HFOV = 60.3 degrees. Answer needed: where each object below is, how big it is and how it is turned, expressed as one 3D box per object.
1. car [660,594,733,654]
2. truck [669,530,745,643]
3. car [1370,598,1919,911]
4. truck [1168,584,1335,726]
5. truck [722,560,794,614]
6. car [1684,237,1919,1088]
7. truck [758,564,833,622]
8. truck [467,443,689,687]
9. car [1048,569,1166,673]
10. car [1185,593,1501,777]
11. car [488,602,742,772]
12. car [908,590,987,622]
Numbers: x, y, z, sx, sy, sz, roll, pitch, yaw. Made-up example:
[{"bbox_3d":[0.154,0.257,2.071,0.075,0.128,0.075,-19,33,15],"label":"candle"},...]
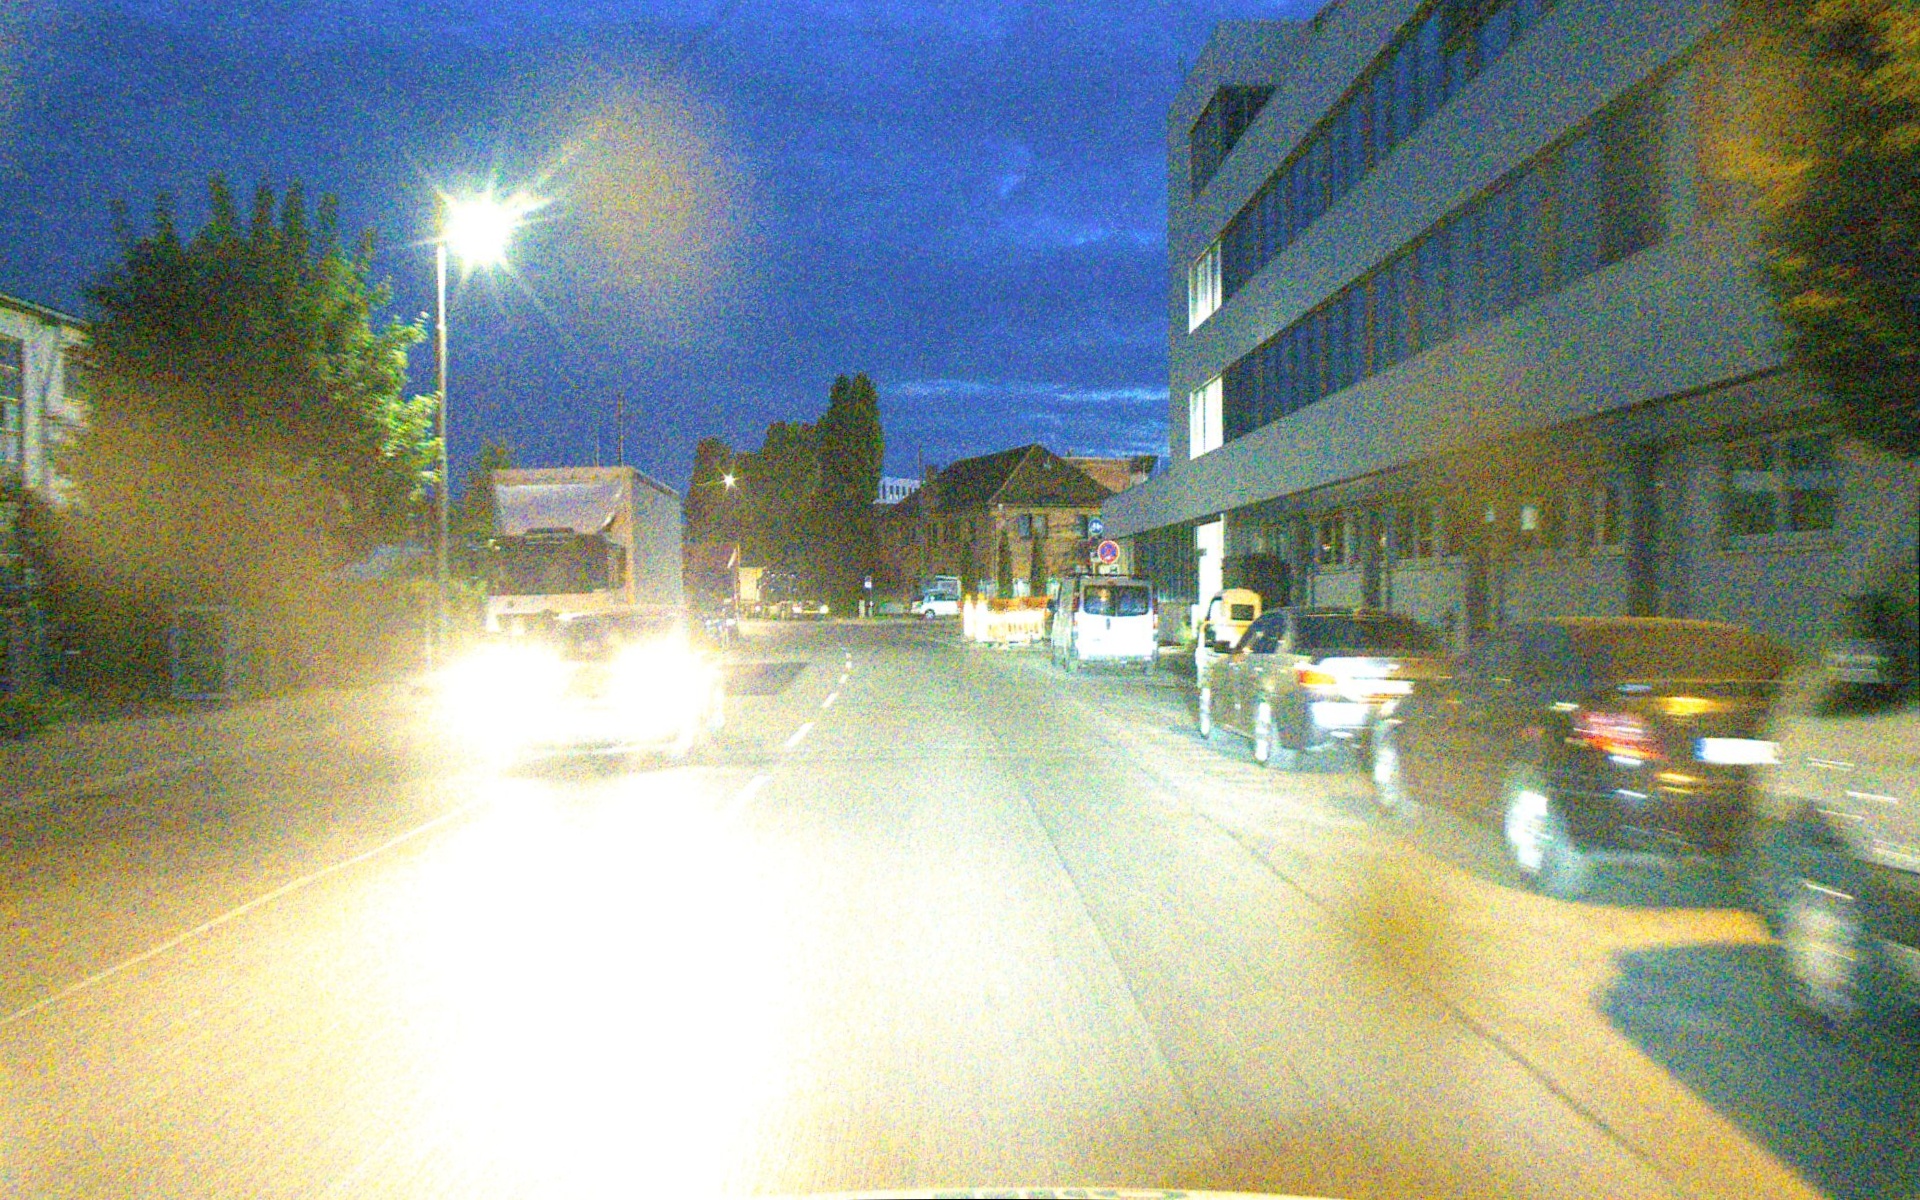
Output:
[{"bbox_3d":[-8.139,0.707,51.508,1.906,1.747,5.192,-1,0,-6],"label":"car"},{"bbox_3d":[-10.106,-0.503,66.235,2.721,4.192,9.322,-1,0,-8],"label":"truck"},{"bbox_3d":[3.886,0.721,10.035,1.733,1.437,4.550,0,0,1],"label":"car"},{"bbox_3d":[3.705,0.659,21.561,1.343,1.673,3.810,-1,0,-3],"label":"truck"},{"bbox_3d":[-15.228,-0.901,123.955,2.717,3.849,10.154,-1,0,-22],"label":"truck"},{"bbox_3d":[3.828,0.209,3.688,1.952,2.570,5.911,2,0,2],"label":"car"},{"bbox_3d":[-11.453,-0.442,114.405,2.717,3.849,9.075,-1,0,-22],"label":"truck"},{"bbox_3d":[-7.231,-0.600,32.733,2.692,4.104,9.553,0,0,-3],"label":"truck"},{"bbox_3d":[3.067,0.421,35.561,1.953,2.049,4.910,-1,0,-2],"label":"car"},{"bbox_3d":[3.547,0.701,16.352,1.907,1.515,5.009,0,0,-1],"label":"car"},{"bbox_3d":[-3.334,0.774,16.726,1.820,1.445,3.998,-2,0,-2],"label":"car"},{"bbox_3d":[-0.759,0.336,97.892,4.269,1.675,1.878,-3,1,-24],"label":"car"}]
